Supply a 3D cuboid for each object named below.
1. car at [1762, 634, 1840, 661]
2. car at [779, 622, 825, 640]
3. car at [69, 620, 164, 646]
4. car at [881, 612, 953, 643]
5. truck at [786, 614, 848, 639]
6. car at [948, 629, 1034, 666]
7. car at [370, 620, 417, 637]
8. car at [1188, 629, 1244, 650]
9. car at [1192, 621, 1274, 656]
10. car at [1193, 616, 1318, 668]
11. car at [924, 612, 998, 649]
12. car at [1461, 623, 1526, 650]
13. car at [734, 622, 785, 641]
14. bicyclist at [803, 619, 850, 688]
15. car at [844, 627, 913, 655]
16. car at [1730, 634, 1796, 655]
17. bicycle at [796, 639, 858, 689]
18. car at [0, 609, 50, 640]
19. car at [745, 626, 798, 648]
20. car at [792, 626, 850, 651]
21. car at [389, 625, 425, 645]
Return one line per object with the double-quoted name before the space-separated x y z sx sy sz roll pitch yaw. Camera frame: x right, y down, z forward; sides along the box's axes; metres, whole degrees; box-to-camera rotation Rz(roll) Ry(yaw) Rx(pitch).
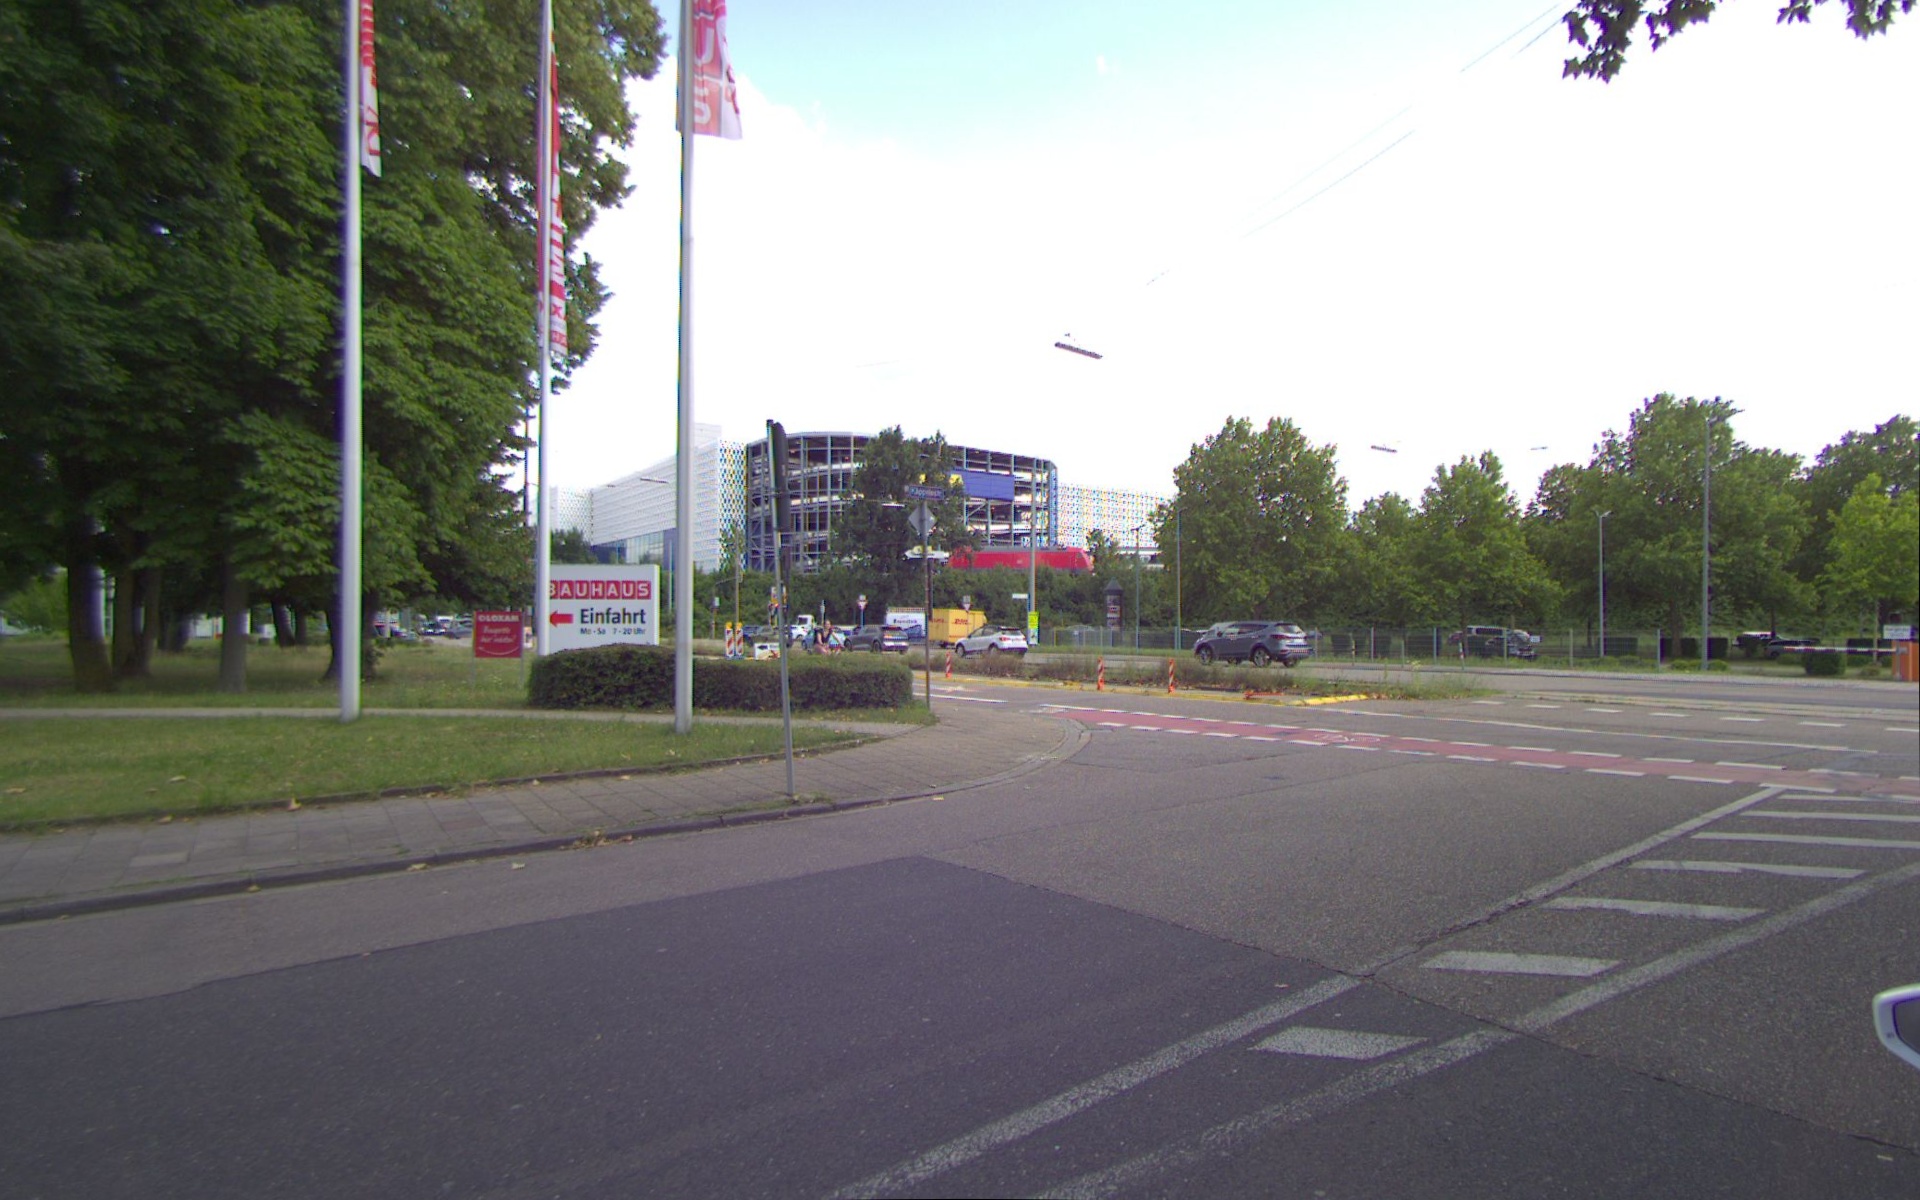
"car" 57.766 3.225 69.091 1.873 1.724 3.998 0 -1 -4
"car" -14.295 2.826 91.178 3.923 1.577 1.874 0 -1 -3
"car" -69.813 2.746 83.199 5.795 2.104 2.211 0 -1 -2
"car" -3.493 2.251 82.419 5.795 2.475 2.211 0 -1 -2
"truck" -13.588 2.508 95.666 5.626 2.319 2.033 0 -1 -4
"car" 1.416 2.199 47.593 1.907 1.600 4.189 1 -1 -38
"car" -61.192 3.105 108.564 3.921 1.808 1.892 0 -1 0
"car" 21.448 3.266 84.284 4.181 1.706 1.999 0 -1 -5
"car" 18.076 2.547 66.642 1.782 2.240 5.244 1 -2 -39
"car" 10.964 1.515 37.543 1.949 1.839 4.234 0 -1 -35
"car" 0.157 2.252 74.936 2.170 2.612 6.382 -1 -2 36
"car" 44.090 2.999 83.108 4.482 2.164 1.860 0 -1 -4
"car" -16.884 2.668 84.785 3.923 1.532 1.920 0 -1 -3
"bicyclist" -3.345 1.319 25.169 0.727 1.669 0.999 -1 -1 -39
"car" -4.557 2.241 55.653 1.907 1.424 4.189 1 -1 -38
"car" 68.831 3.827 86.165 4.217 1.744 1.920 0 -1 -3
"bicycle" -3.351 1.580 25.181 0.724 1.181 1.795 -1 -1 -38
"car" -76.533 1.924 80.020 5.795 2.475 2.366 0 -1 -2
"car" -12.379 2.402 65.834 1.782 1.424 3.987 1 -1 -38
"car" -8.501 2.331 61.142 1.782 1.424 3.987 1 -1 -38
"car" -44.705 2.807 81.172 1.854 1.505 3.955 1 -1 -39
